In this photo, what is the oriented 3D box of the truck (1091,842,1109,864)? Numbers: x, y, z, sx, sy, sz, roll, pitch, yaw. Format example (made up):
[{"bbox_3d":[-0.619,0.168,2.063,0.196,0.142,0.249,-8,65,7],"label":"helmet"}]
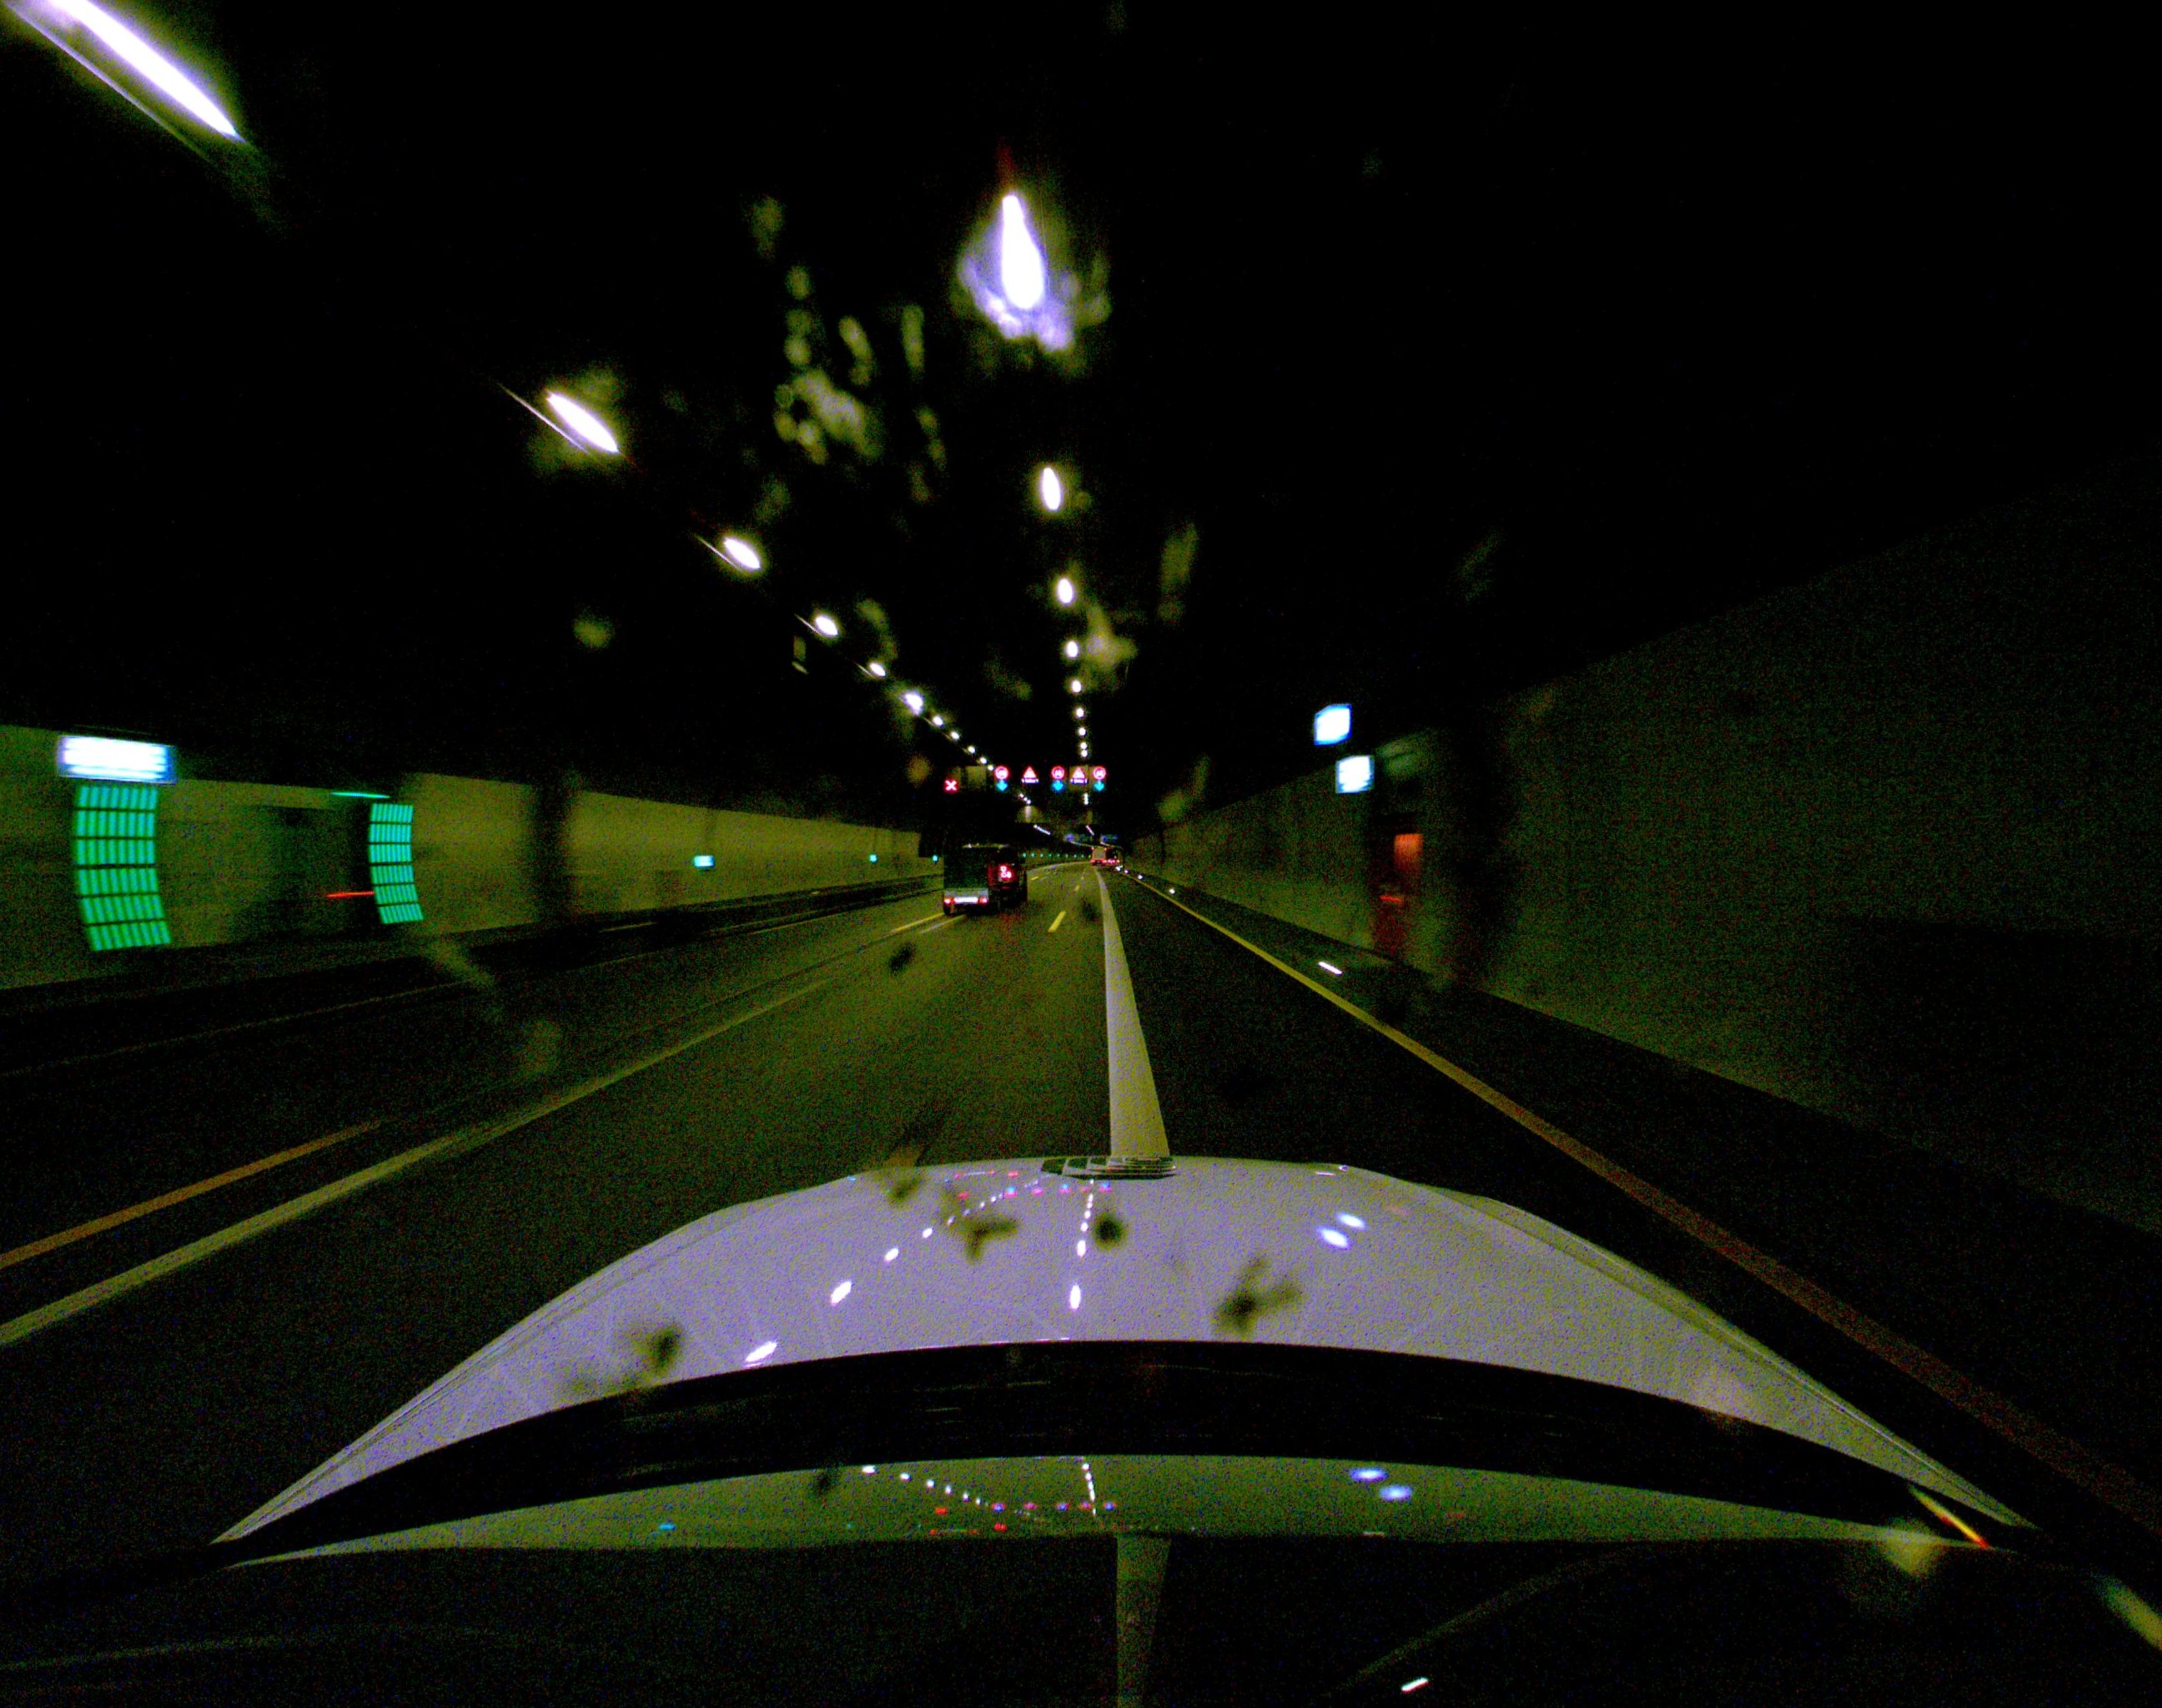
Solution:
[{"bbox_3d":[3.716,-0.224,162.023,3.462,4.316,10.952,0,0,0],"label":"truck"}]

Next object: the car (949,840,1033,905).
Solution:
[{"bbox_3d":[-2.784,0.542,26.540,1.986,1.895,5.455,0,0,2],"label":"car"}]

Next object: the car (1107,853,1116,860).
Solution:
[{"bbox_3d":[8.268,0.676,222.615,1.983,1.895,5.541,0,0,6],"label":"car"}]

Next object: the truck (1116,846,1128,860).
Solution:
[{"bbox_3d":[13.140,-0.440,261.259,3.462,4.316,10.953,-1,0,1],"label":"truck"}]
